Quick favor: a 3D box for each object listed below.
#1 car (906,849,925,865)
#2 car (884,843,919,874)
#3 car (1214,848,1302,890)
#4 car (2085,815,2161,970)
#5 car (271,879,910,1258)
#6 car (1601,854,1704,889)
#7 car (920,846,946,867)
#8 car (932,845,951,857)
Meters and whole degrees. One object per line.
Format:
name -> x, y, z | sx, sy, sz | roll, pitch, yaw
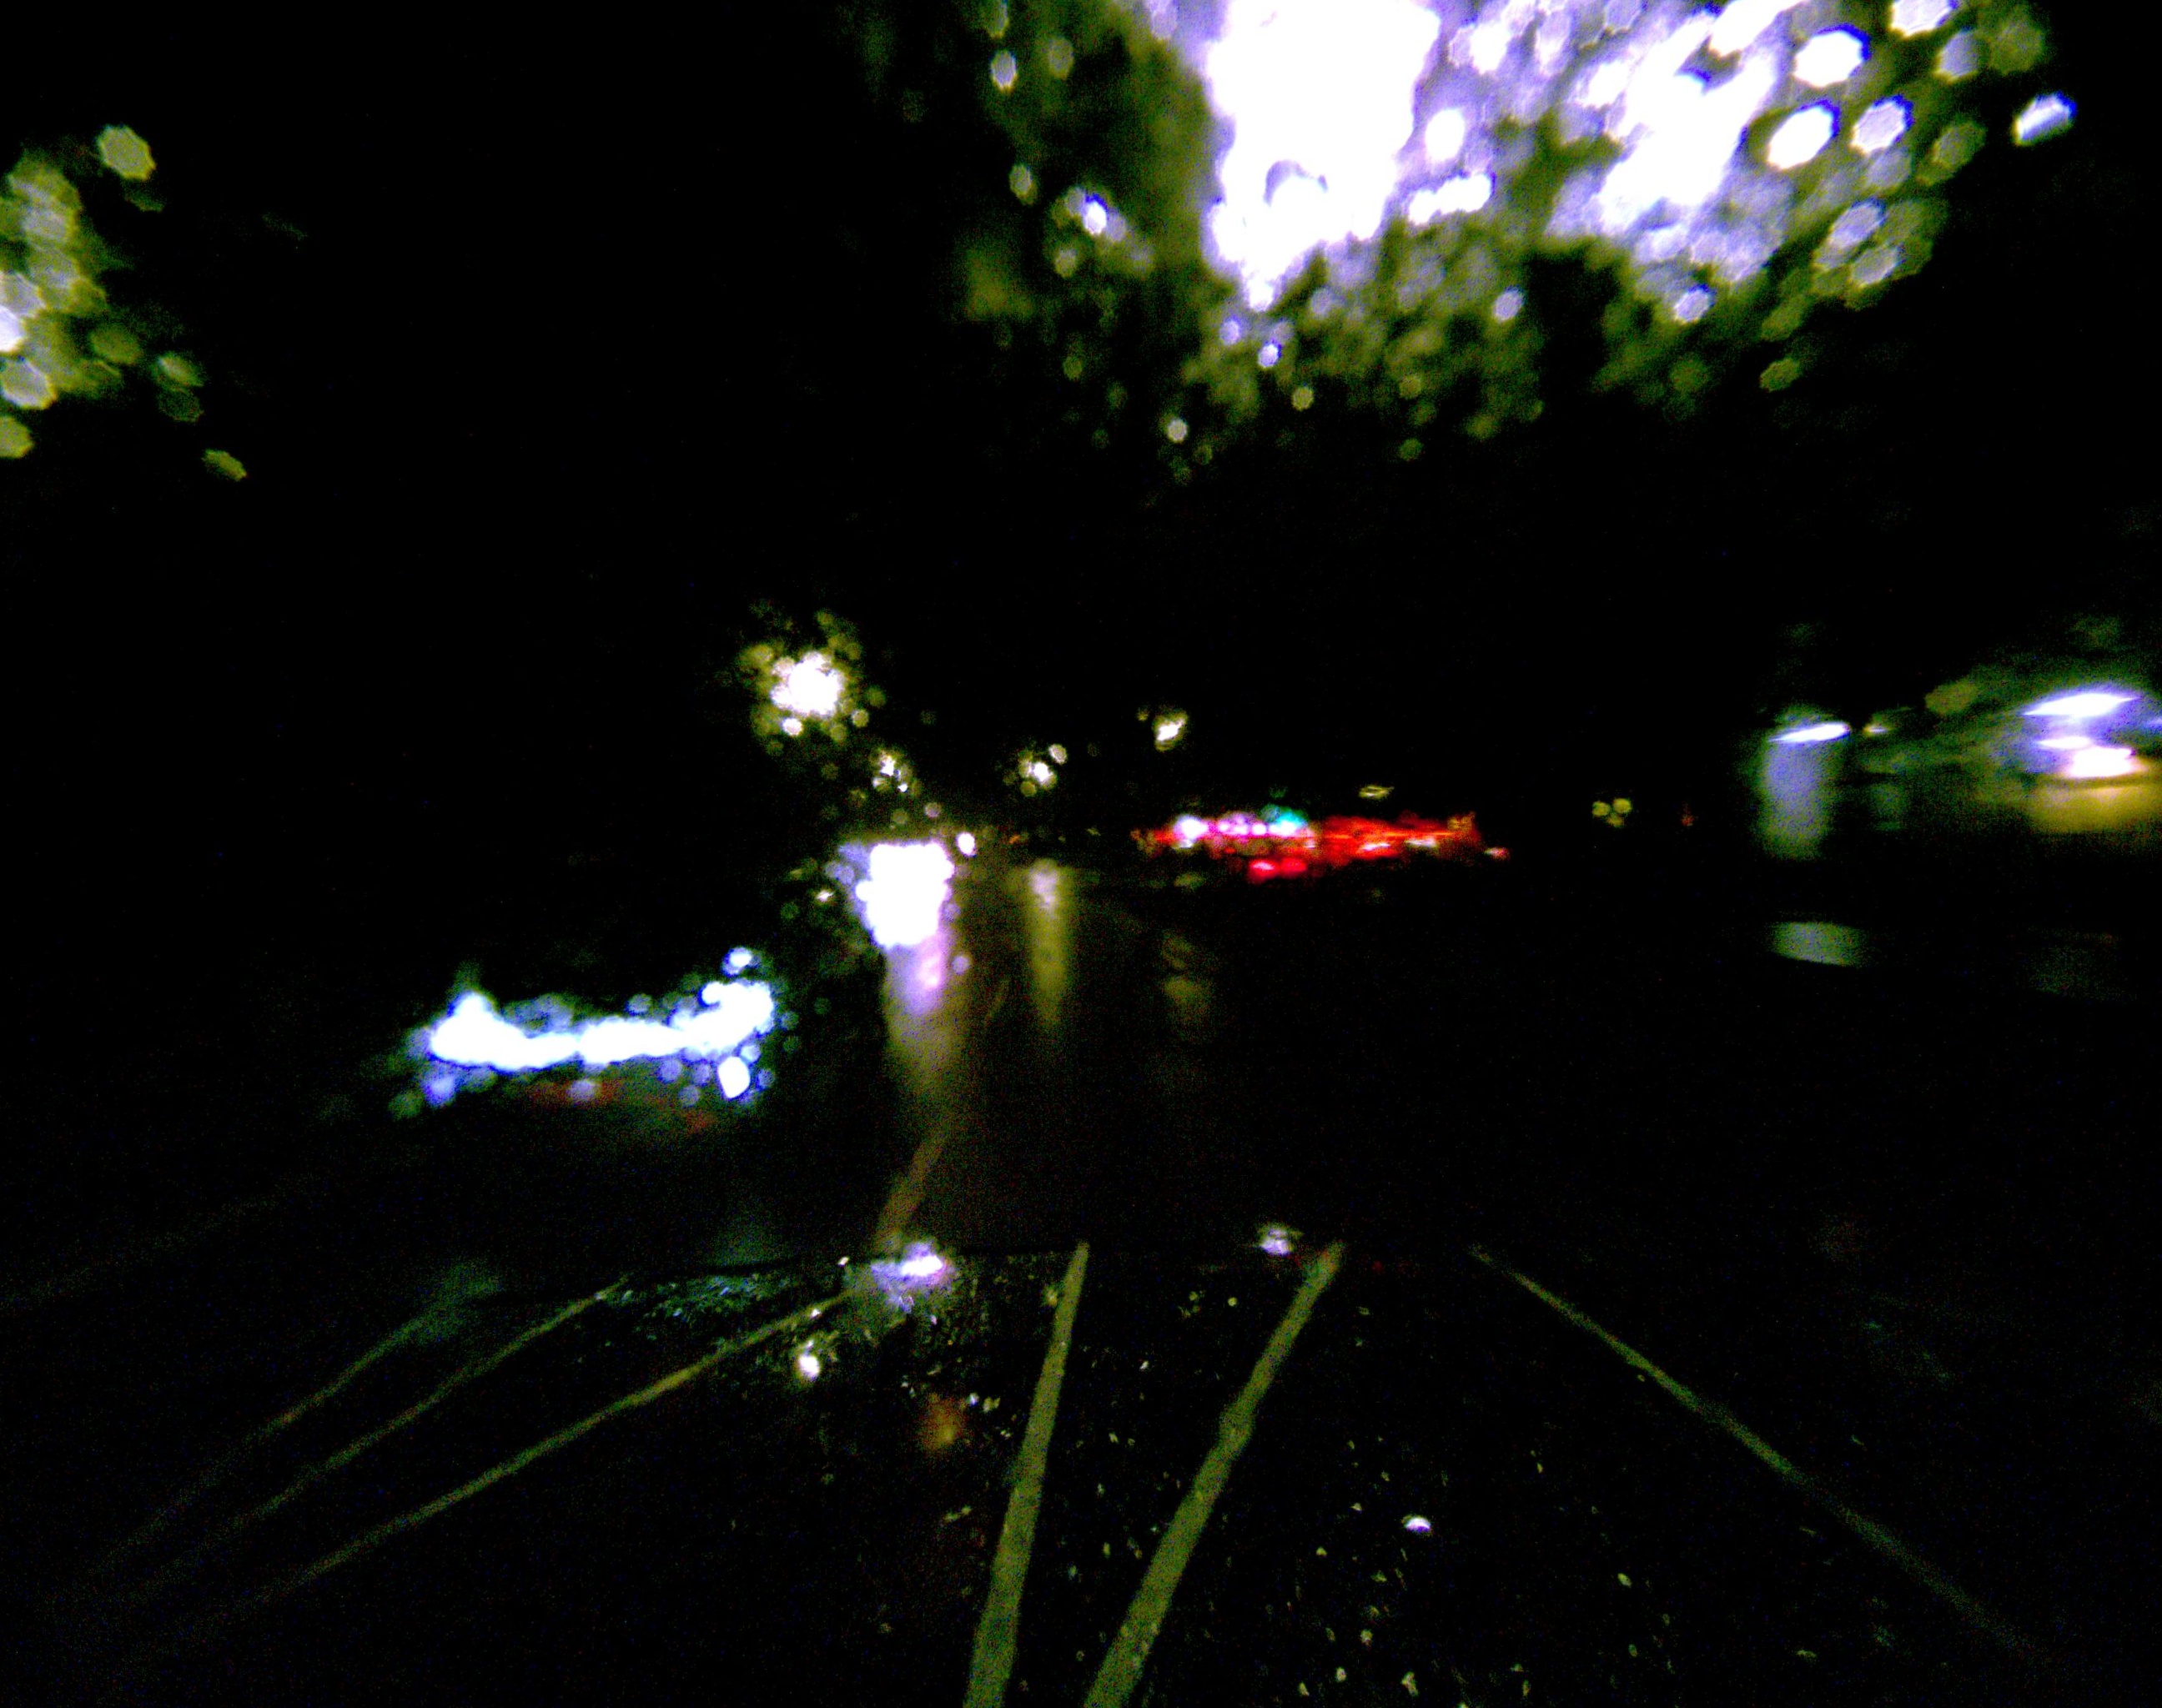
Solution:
car -> -20.741, 0.368, 95.043 | 2.002, 1.922, 3.994 | 1, -1, -17
car -> -11.630, 0.261, 49.342 | 1.938, 1.862, 3.995 | -3, 2, -11
car -> 6.733, 0.518, 29.405 | 1.872, 1.455, 4.636 | 0, 1, -6
car -> 12.146, 0.375, 6.415 | 1.999, 1.585, 3.999 | -1, 0, -3
car -> -2.680, 1.041, 5.476 | 1.999, 1.515, 3.999 | -3, 0, -1
car -> 30.333, 0.916, 40.373 | 4.430, 1.713, 1.798 | 1, 0, -9
car -> -13.934, 0.271, 71.654 | 2.000, 1.922, 3.998 | 1, -1, -6
car -> -19.133, -0.404, 104.368 | 1.772, 1.449, 3.945 | -4, 2, -21
